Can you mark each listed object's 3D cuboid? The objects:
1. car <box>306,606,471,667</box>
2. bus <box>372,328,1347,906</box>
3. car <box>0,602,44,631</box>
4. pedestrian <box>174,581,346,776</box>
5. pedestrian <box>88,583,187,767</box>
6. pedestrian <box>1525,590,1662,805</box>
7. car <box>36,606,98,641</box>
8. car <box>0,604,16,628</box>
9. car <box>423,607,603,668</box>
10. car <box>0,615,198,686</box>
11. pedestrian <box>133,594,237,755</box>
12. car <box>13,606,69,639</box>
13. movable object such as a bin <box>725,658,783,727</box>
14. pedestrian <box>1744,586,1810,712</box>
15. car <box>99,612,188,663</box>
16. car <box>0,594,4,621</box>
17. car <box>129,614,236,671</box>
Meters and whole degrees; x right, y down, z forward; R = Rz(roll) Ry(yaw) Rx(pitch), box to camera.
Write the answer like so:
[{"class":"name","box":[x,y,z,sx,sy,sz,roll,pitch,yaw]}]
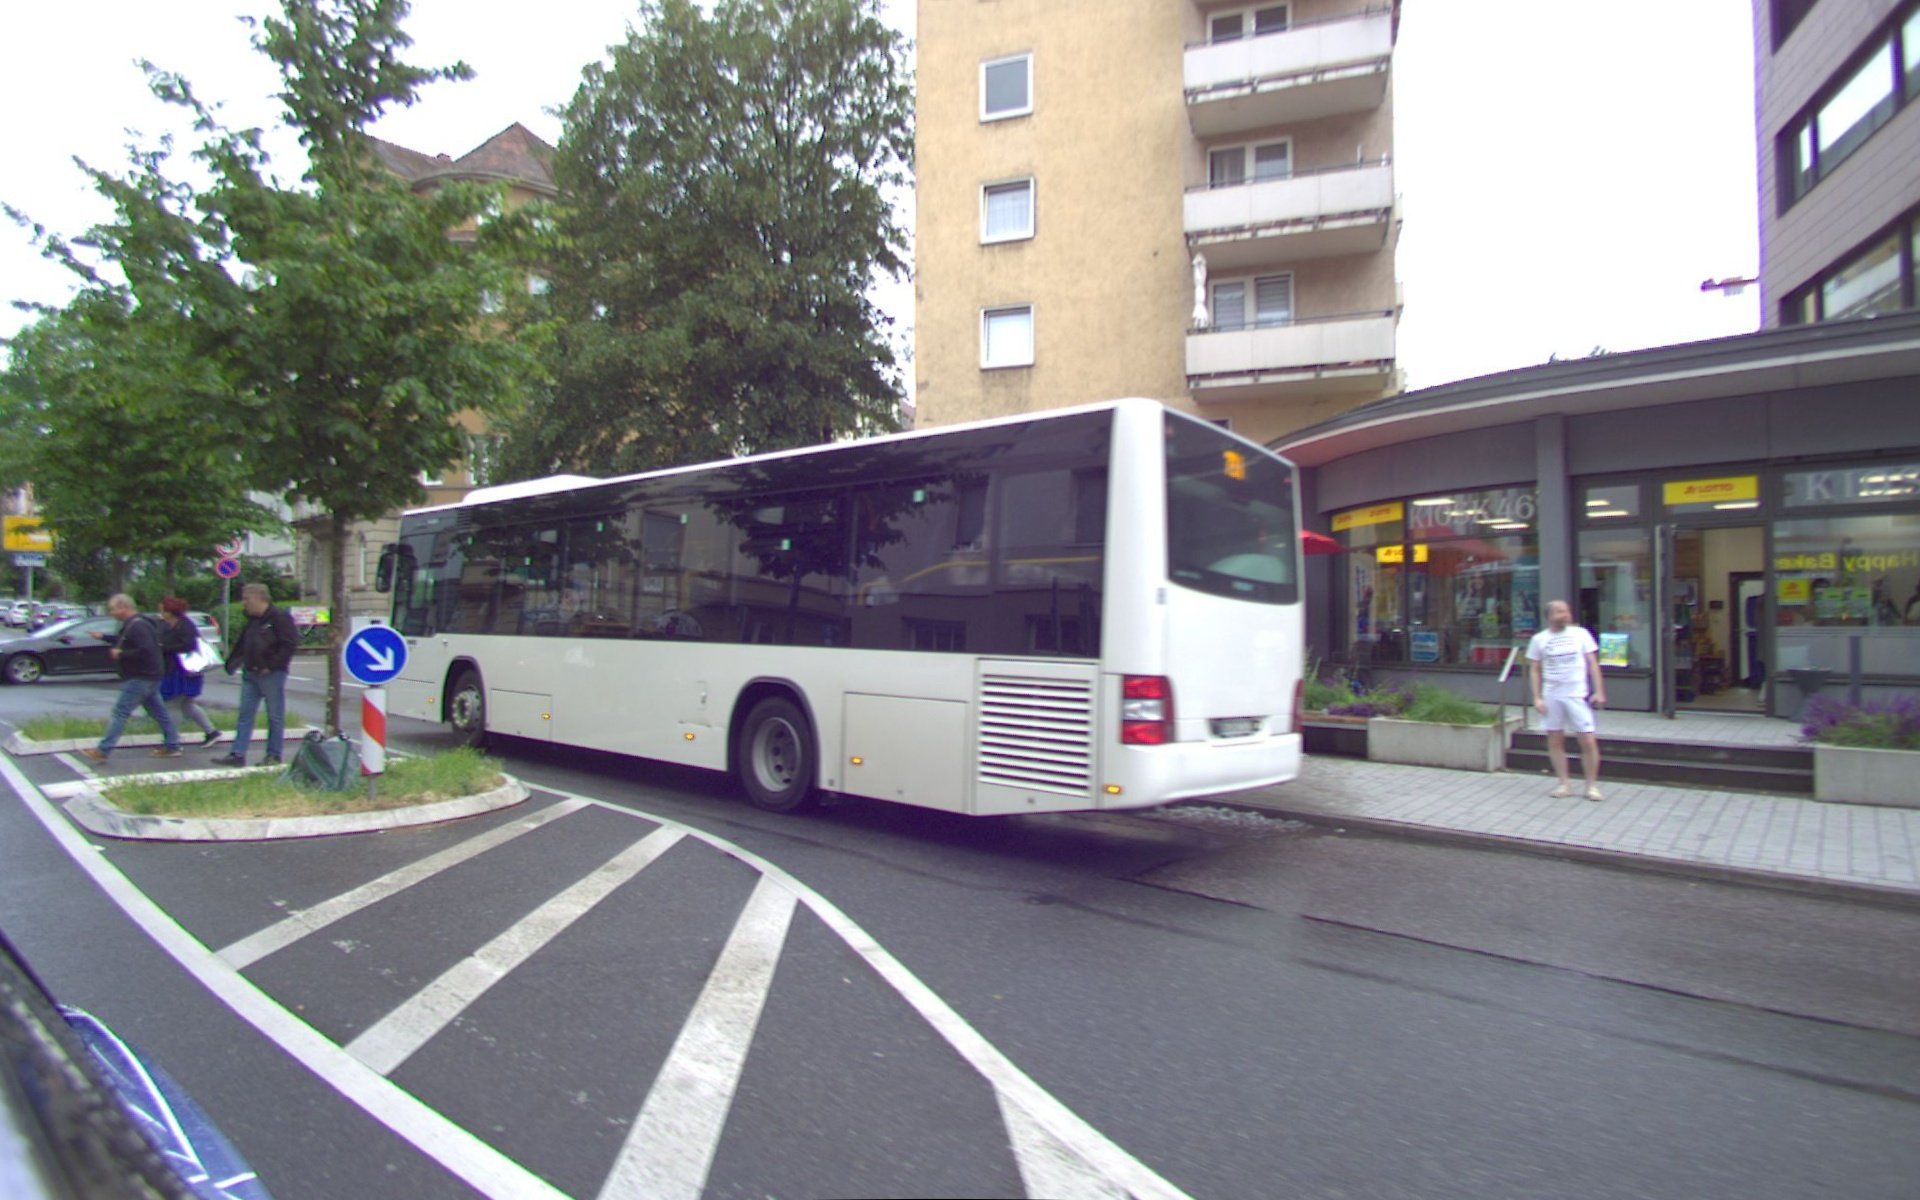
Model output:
[{"class":"car","box":[-17.002,1.041,30.192,3.940,1.696,2.002,1,-1,-43]},{"class":"bus","box":[-2.416,0.139,10.705,11.954,3.271,2.776,0,-2,41]},{"class":"car","box":[-53.091,0.914,57.109,3.392,1.527,1.651,0,1,41]},{"class":"pedestrian","box":[-6.804,0.739,9.869,0.851,1.762,1.052,-1,-3,31]},{"class":"pedestrian","box":[-8.273,0.735,10.183,0.698,1.762,0.603,-1,-4,42]},{"class":"pedestrian","box":[5.348,0.790,8.602,0.756,1.721,0.788,-2,0,17]},{"class":"car","box":[-41.221,1.059,46.712,3.695,1.527,1.651,0,1,41]},{"class":"car","box":[-64.861,1.073,68.138,3.392,1.527,1.538,0,1,42]},{"class":"car","box":[-13.033,1.058,29.759,1.809,1.659,4.544,-2,-2,38]},{"class":"car","box":[-19.406,1.067,22.233,1.809,1.431,3.949,-2,-2,38]},{"class":"pedestrian","box":[-8.440,0.801,11.058,0.779,1.678,0.700,3,-3,-33]},{"class":"car","box":[-45.630,1.107,50.254,3.392,1.527,1.651,0,1,41]},{"class":"movable object such as a bin","box":[-3.398,1.513,16.698,0.731,1.066,0.579,1,-1,-45]},{"class":"pedestrian","box":[10.936,0.640,13.542,0.642,1.640,0.580,0,-1,-43]},{"class":"car","box":[-27.104,1.206,33.583,3.391,1.527,1.651,0,1,40]},{"class":"car","box":[-68.860,0.500,71.453,3.657,1.896,1.619,0,-1,41]},{"class":"car","box":[-23.675,1.240,30.782,3.673,1.527,1.791,0,1,40]}]
